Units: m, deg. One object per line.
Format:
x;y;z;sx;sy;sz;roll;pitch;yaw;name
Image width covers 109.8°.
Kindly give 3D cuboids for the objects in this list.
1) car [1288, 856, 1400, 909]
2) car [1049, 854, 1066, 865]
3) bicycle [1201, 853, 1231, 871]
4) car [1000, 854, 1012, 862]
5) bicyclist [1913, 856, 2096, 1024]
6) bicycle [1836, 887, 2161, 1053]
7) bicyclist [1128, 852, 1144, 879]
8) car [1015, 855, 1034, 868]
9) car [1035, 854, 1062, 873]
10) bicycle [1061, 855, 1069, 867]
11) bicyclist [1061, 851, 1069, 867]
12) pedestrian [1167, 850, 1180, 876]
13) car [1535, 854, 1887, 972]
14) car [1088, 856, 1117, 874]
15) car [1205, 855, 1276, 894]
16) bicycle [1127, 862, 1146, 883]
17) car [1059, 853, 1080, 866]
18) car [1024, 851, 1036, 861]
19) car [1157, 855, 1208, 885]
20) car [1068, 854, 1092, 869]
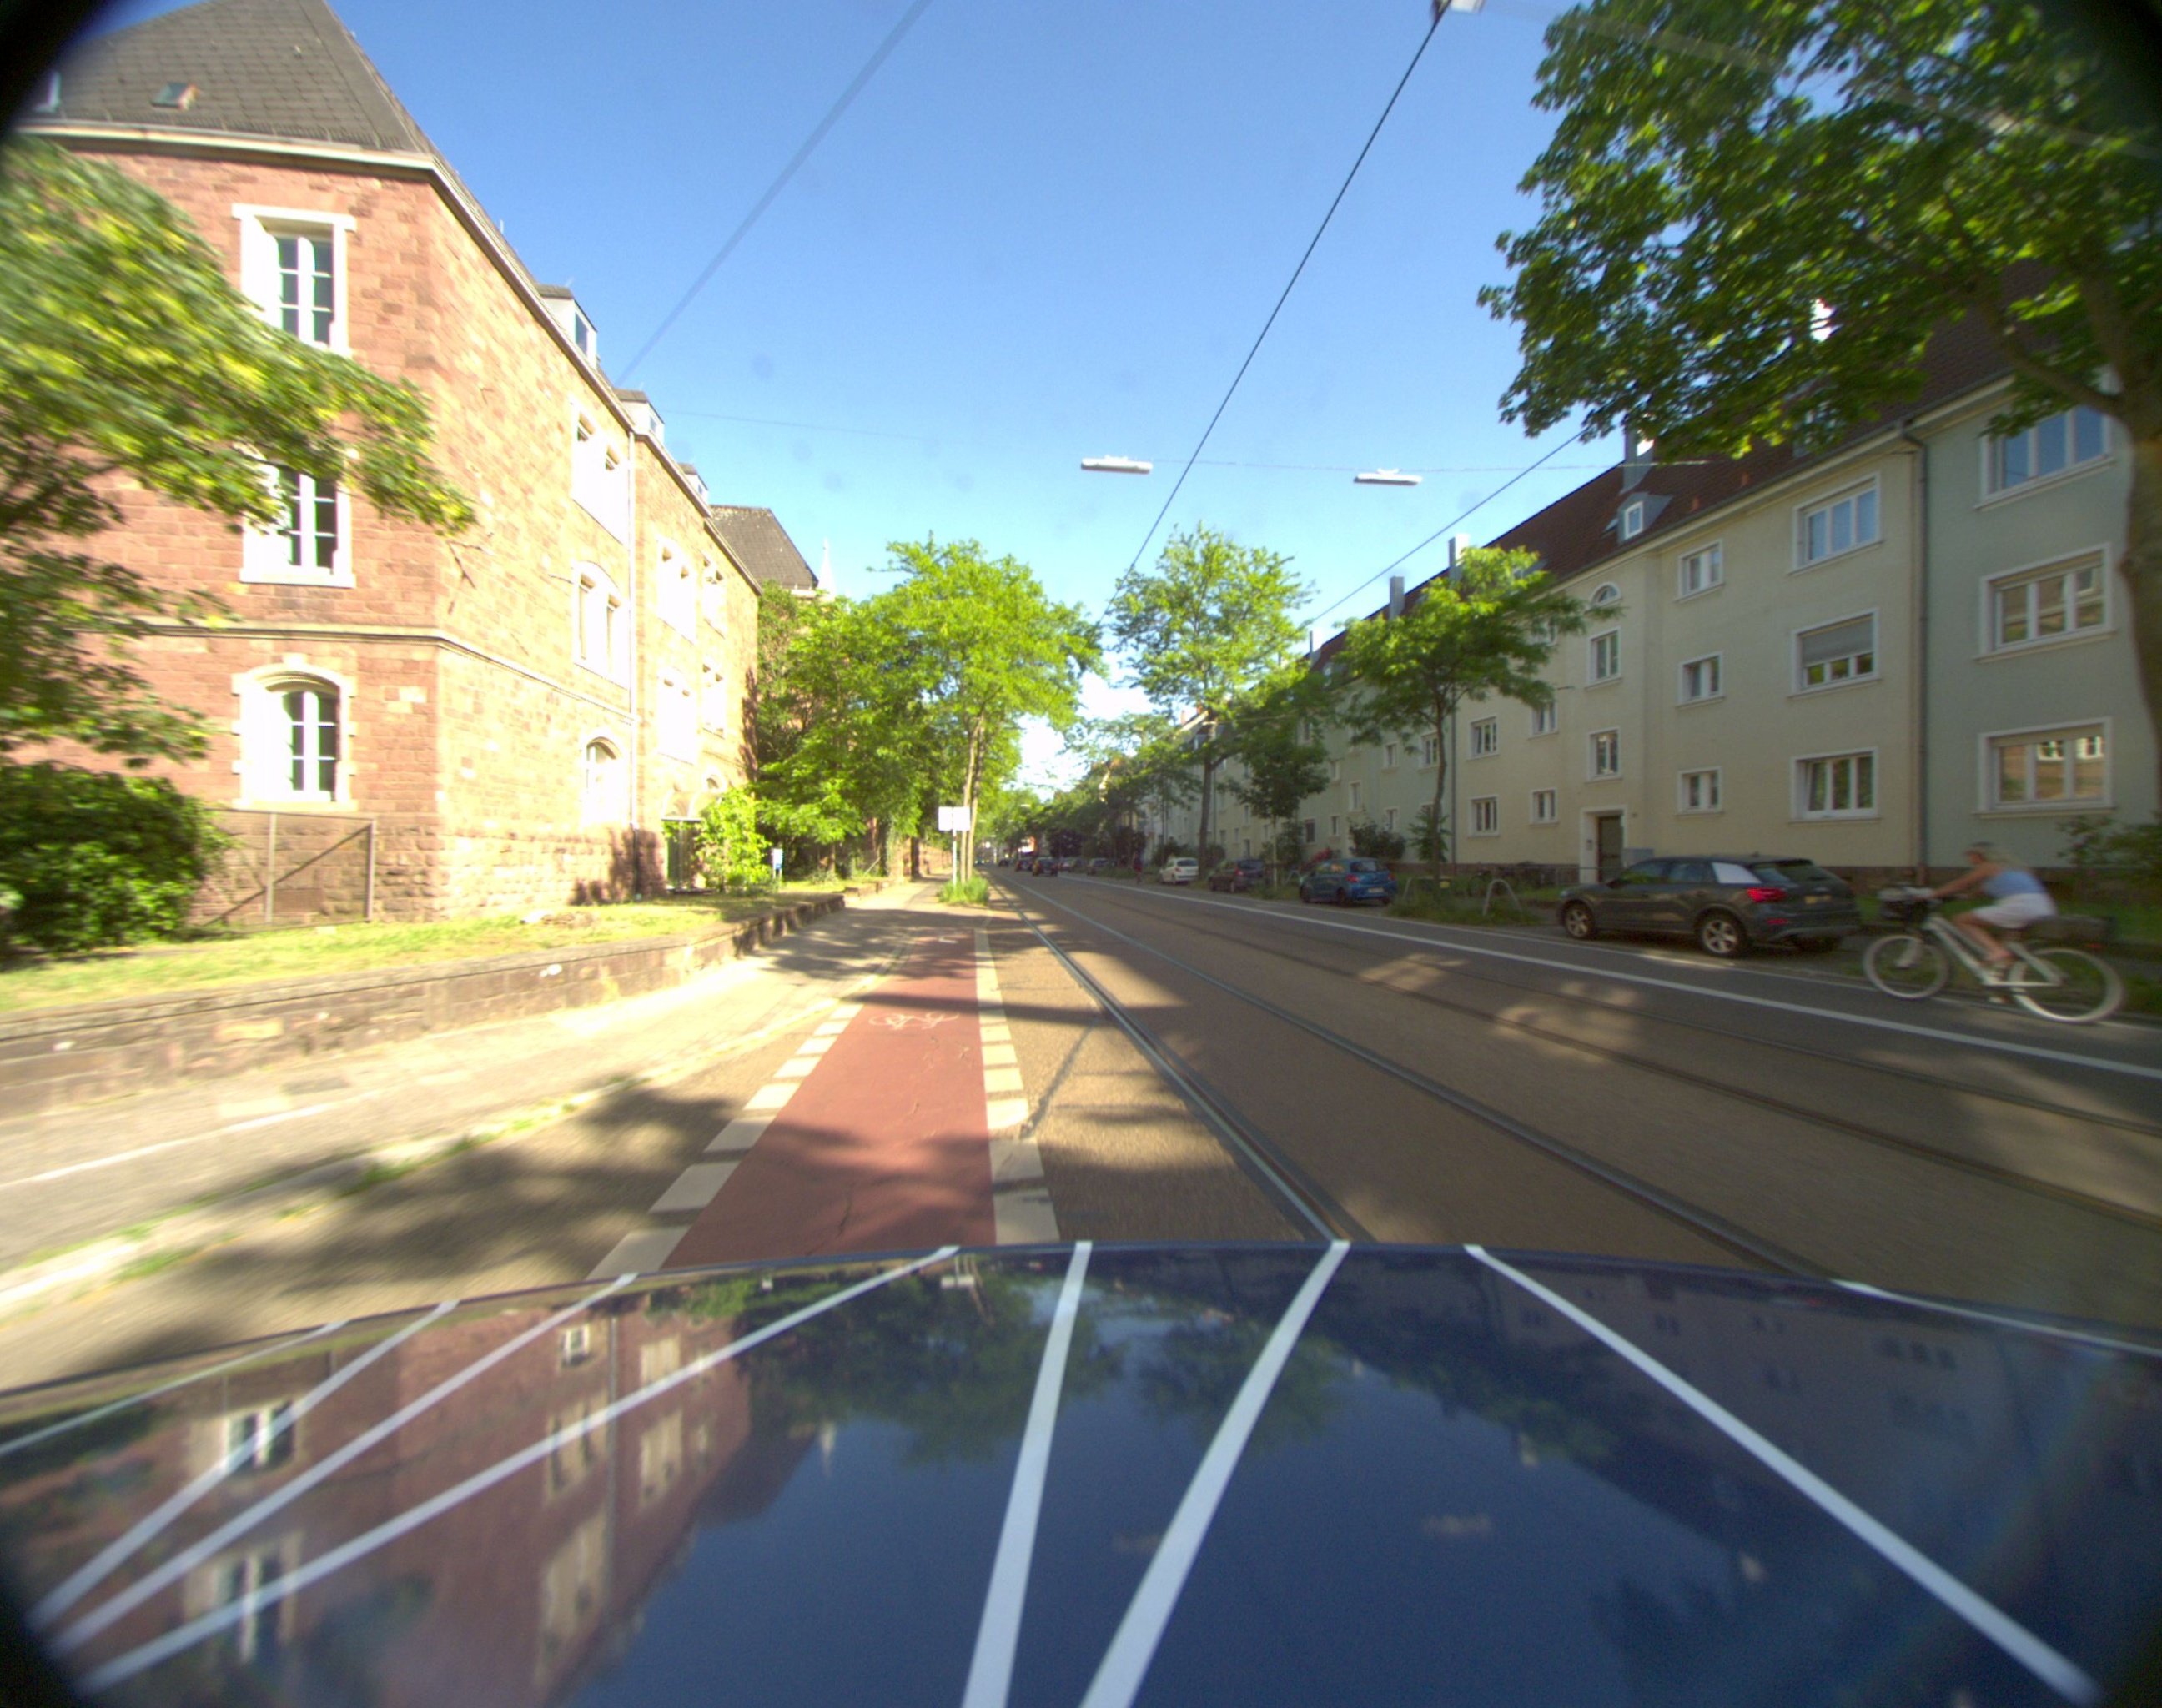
8.194;0.825;24.070;1.565;1.448;3.927;-3;1;-10;car
-3.172;0.664;102.452;1.711;1.398;4.330;-2;0;-9;car
9.207;0.558;51.941;1.913;1.171;0.521;-3;1;-10;bicycle
-13.788;0.787;139.704;1.764;1.431;4.519;-1;0;-10;car
8.476;0.752;7.009;0.560;1.448;0.868;3;0;-11;bicyclist
8.481;0.960;6.936;0.560;1.191;2.289;3;0;-11;bicycle
3.264;0.670;44.800;0.712;1.597;0.864;2;0;-8;bicyclist
-6.283;0.803;84.030;1.705;1.431;4.068;-1;0;-10;car
-2.664;0.739;61.855;1.705;1.462;4.068;-1;0;-10;car
-1.666;0.694;78.329;0.629;1.170;1.911;2;0;-8;bicycle
-1.667;0.557;78.380;0.628;1.629;0.939;2;0;-8;bicyclist
6.436;0.622;52.869;0.694;1.791;0.812;0;1;-8;pedestrian
9.869;0.795;12.455;1.751;1.482;4.320;-3;1;-9;car
1.858;0.921;67.731;1.823;1.476;4.203;-2;0;-8;car
6.849;0.835;33.003;1.692;1.476;3.756;-3;1;-9;car
3.250;1.065;44.824;0.696;1.170;1.911;2;0;-8;bicycle
-1.452;0.638;91.225;1.823;1.502;4.367;-2;0;-10;car
-9.891;0.446;146.926;1.876;1.812;4.767;-2;0;-10;car
5.582;0.831;42.335;1.708;1.476;4.075;-3;1;-8;car
-0.115;0.808;80.802;1.763;1.502;4.435;-2;0;-10;car
